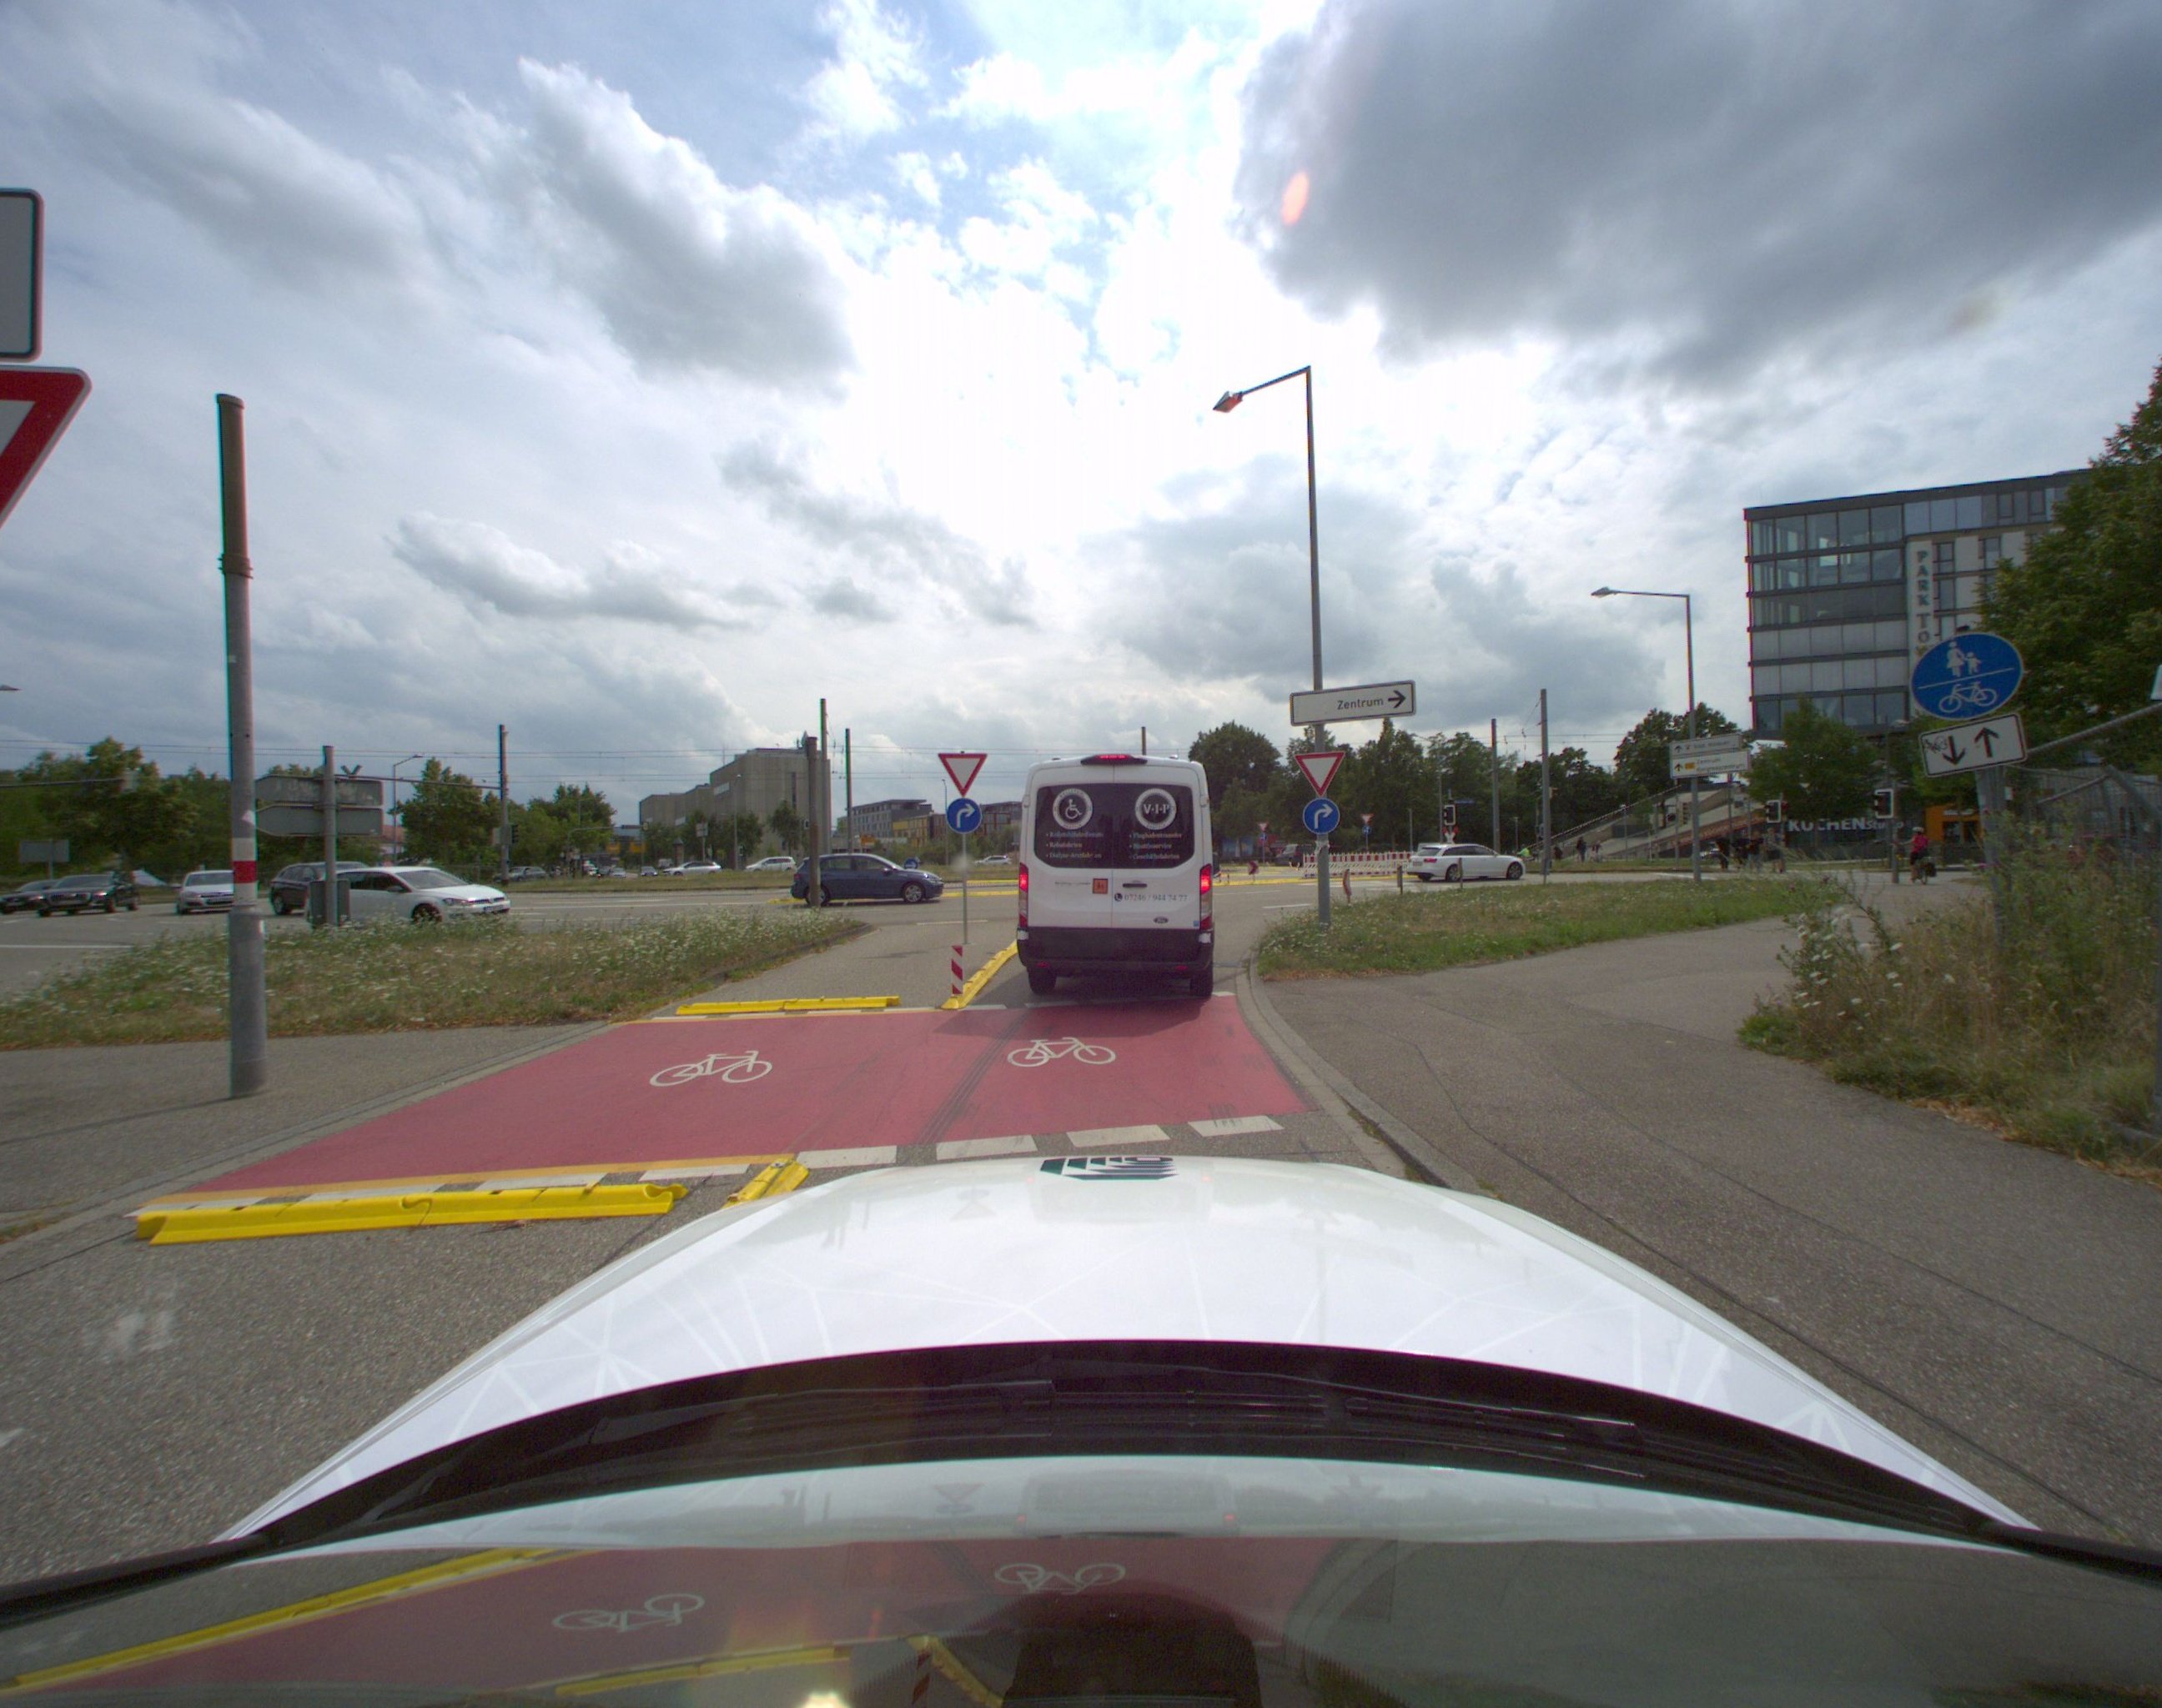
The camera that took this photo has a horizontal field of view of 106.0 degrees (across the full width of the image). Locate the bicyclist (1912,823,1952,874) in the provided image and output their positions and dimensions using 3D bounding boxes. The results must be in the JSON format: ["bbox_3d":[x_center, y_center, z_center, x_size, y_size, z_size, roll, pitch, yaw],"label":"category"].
[{"bbox_3d":[27.832,-0.177,26.648,0.781,1.627,1.055,-2,0,42],"label":"bicyclist"}]

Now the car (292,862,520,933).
[{"bbox_3d":[-15.693,0.997,19.017,4.218,1.497,1.807,-1,0,11],"label":"car"}]

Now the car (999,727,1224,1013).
[{"bbox_3d":[0.677,0.172,10.611,2.114,2.697,5.644,-1,0,8],"label":"car"}]

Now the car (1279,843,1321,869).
[{"bbox_3d":[15.650,0.173,58.336,1.986,1.750,4.000,-1,-1,1],"label":"car"}]

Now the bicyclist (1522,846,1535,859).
[{"bbox_3d":[30.593,-0.113,55.658,0.650,0.884,0.611,-1,-2,40],"label":"bicyclist"}]

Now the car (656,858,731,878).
[{"bbox_3d":[-32.031,1.119,67.435,5.213,1.482,1.976,-1,0,-43],"label":"car"}]

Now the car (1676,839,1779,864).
[{"bbox_3d":[40.308,-0.150,50.876,4.687,1.458,1.856,-1,0,15],"label":"car"}]

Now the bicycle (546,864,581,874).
[{"bbox_3d":[-49.959,1.475,78.650,0.853,0.855,2.676,-1,0,37],"label":"bicycle"}]

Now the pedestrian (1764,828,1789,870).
[{"bbox_3d":[29.910,-0.218,35.032,0.575,1.781,0.554,-1,0,8],"label":"pedestrian"}]

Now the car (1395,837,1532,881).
[{"bbox_3d":[15.199,0.175,32.423,4.744,1.618,1.990,-1,0,-15],"label":"car"}]

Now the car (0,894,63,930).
[{"bbox_3d":[-46.804,2.557,36.082,1.642,1.414,3.676,-3,1,-44],"label":"car"}]

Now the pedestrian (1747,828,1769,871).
[{"bbox_3d":[29.793,-0.203,35.832,0.526,1.862,0.554,-1,0,8],"label":"pedestrian"}]

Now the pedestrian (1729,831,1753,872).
[{"bbox_3d":[29.104,-0.108,35.924,0.627,1.781,0.554,-1,0,8],"label":"pedestrian"}]

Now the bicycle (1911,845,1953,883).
[{"bbox_3d":[27.853,0.318,26.689,0.781,1.168,2.054,-2,0,42],"label":"bicycle"}]

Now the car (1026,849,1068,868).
[{"bbox_3d":[-3.836,0.522,91.350,4.357,2.014,1.988,0,-1,-17],"label":"car"}]

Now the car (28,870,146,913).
[{"bbox_3d":[-37.193,1.391,30.458,4.207,1.462,1.841,-1,0,26],"label":"car"}]

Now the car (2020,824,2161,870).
[{"bbox_3d":[39.212,-0.263,30.697,4.704,1.618,2.007,-1,0,12],"label":"car"}]

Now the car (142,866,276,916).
[{"bbox_3d":[-29.525,1.233,27.572,4.318,1.534,1.742,-1,0,24],"label":"car"}]

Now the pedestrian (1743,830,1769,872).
[{"bbox_3d":[29.188,-0.117,35.227,0.684,1.781,0.554,-1,0,8],"label":"pedestrian"}]

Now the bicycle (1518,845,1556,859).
[{"bbox_3d":[30.956,-0.121,55.344,2.176,0.938,0.618,-1,-2,41],"label":"bicycle"}]

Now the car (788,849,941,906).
[{"bbox_3d":[-6.157,0.644,23.625,4.104,1.497,1.795,-1,0,-11],"label":"car"}]

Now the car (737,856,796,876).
[{"bbox_3d":[-27.561,1.008,71.424,4.379,1.665,1.915,-1,0,-43],"label":"car"}]

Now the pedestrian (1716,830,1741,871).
[{"bbox_3d":[28.512,-0.150,35.870,0.684,1.781,0.554,-1,0,8],"label":"pedestrian"}]

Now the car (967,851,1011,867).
[{"bbox_3d":[-9.776,0.524,86.269,4.355,1.665,1.926,-1,0,-20],"label":"car"}]
